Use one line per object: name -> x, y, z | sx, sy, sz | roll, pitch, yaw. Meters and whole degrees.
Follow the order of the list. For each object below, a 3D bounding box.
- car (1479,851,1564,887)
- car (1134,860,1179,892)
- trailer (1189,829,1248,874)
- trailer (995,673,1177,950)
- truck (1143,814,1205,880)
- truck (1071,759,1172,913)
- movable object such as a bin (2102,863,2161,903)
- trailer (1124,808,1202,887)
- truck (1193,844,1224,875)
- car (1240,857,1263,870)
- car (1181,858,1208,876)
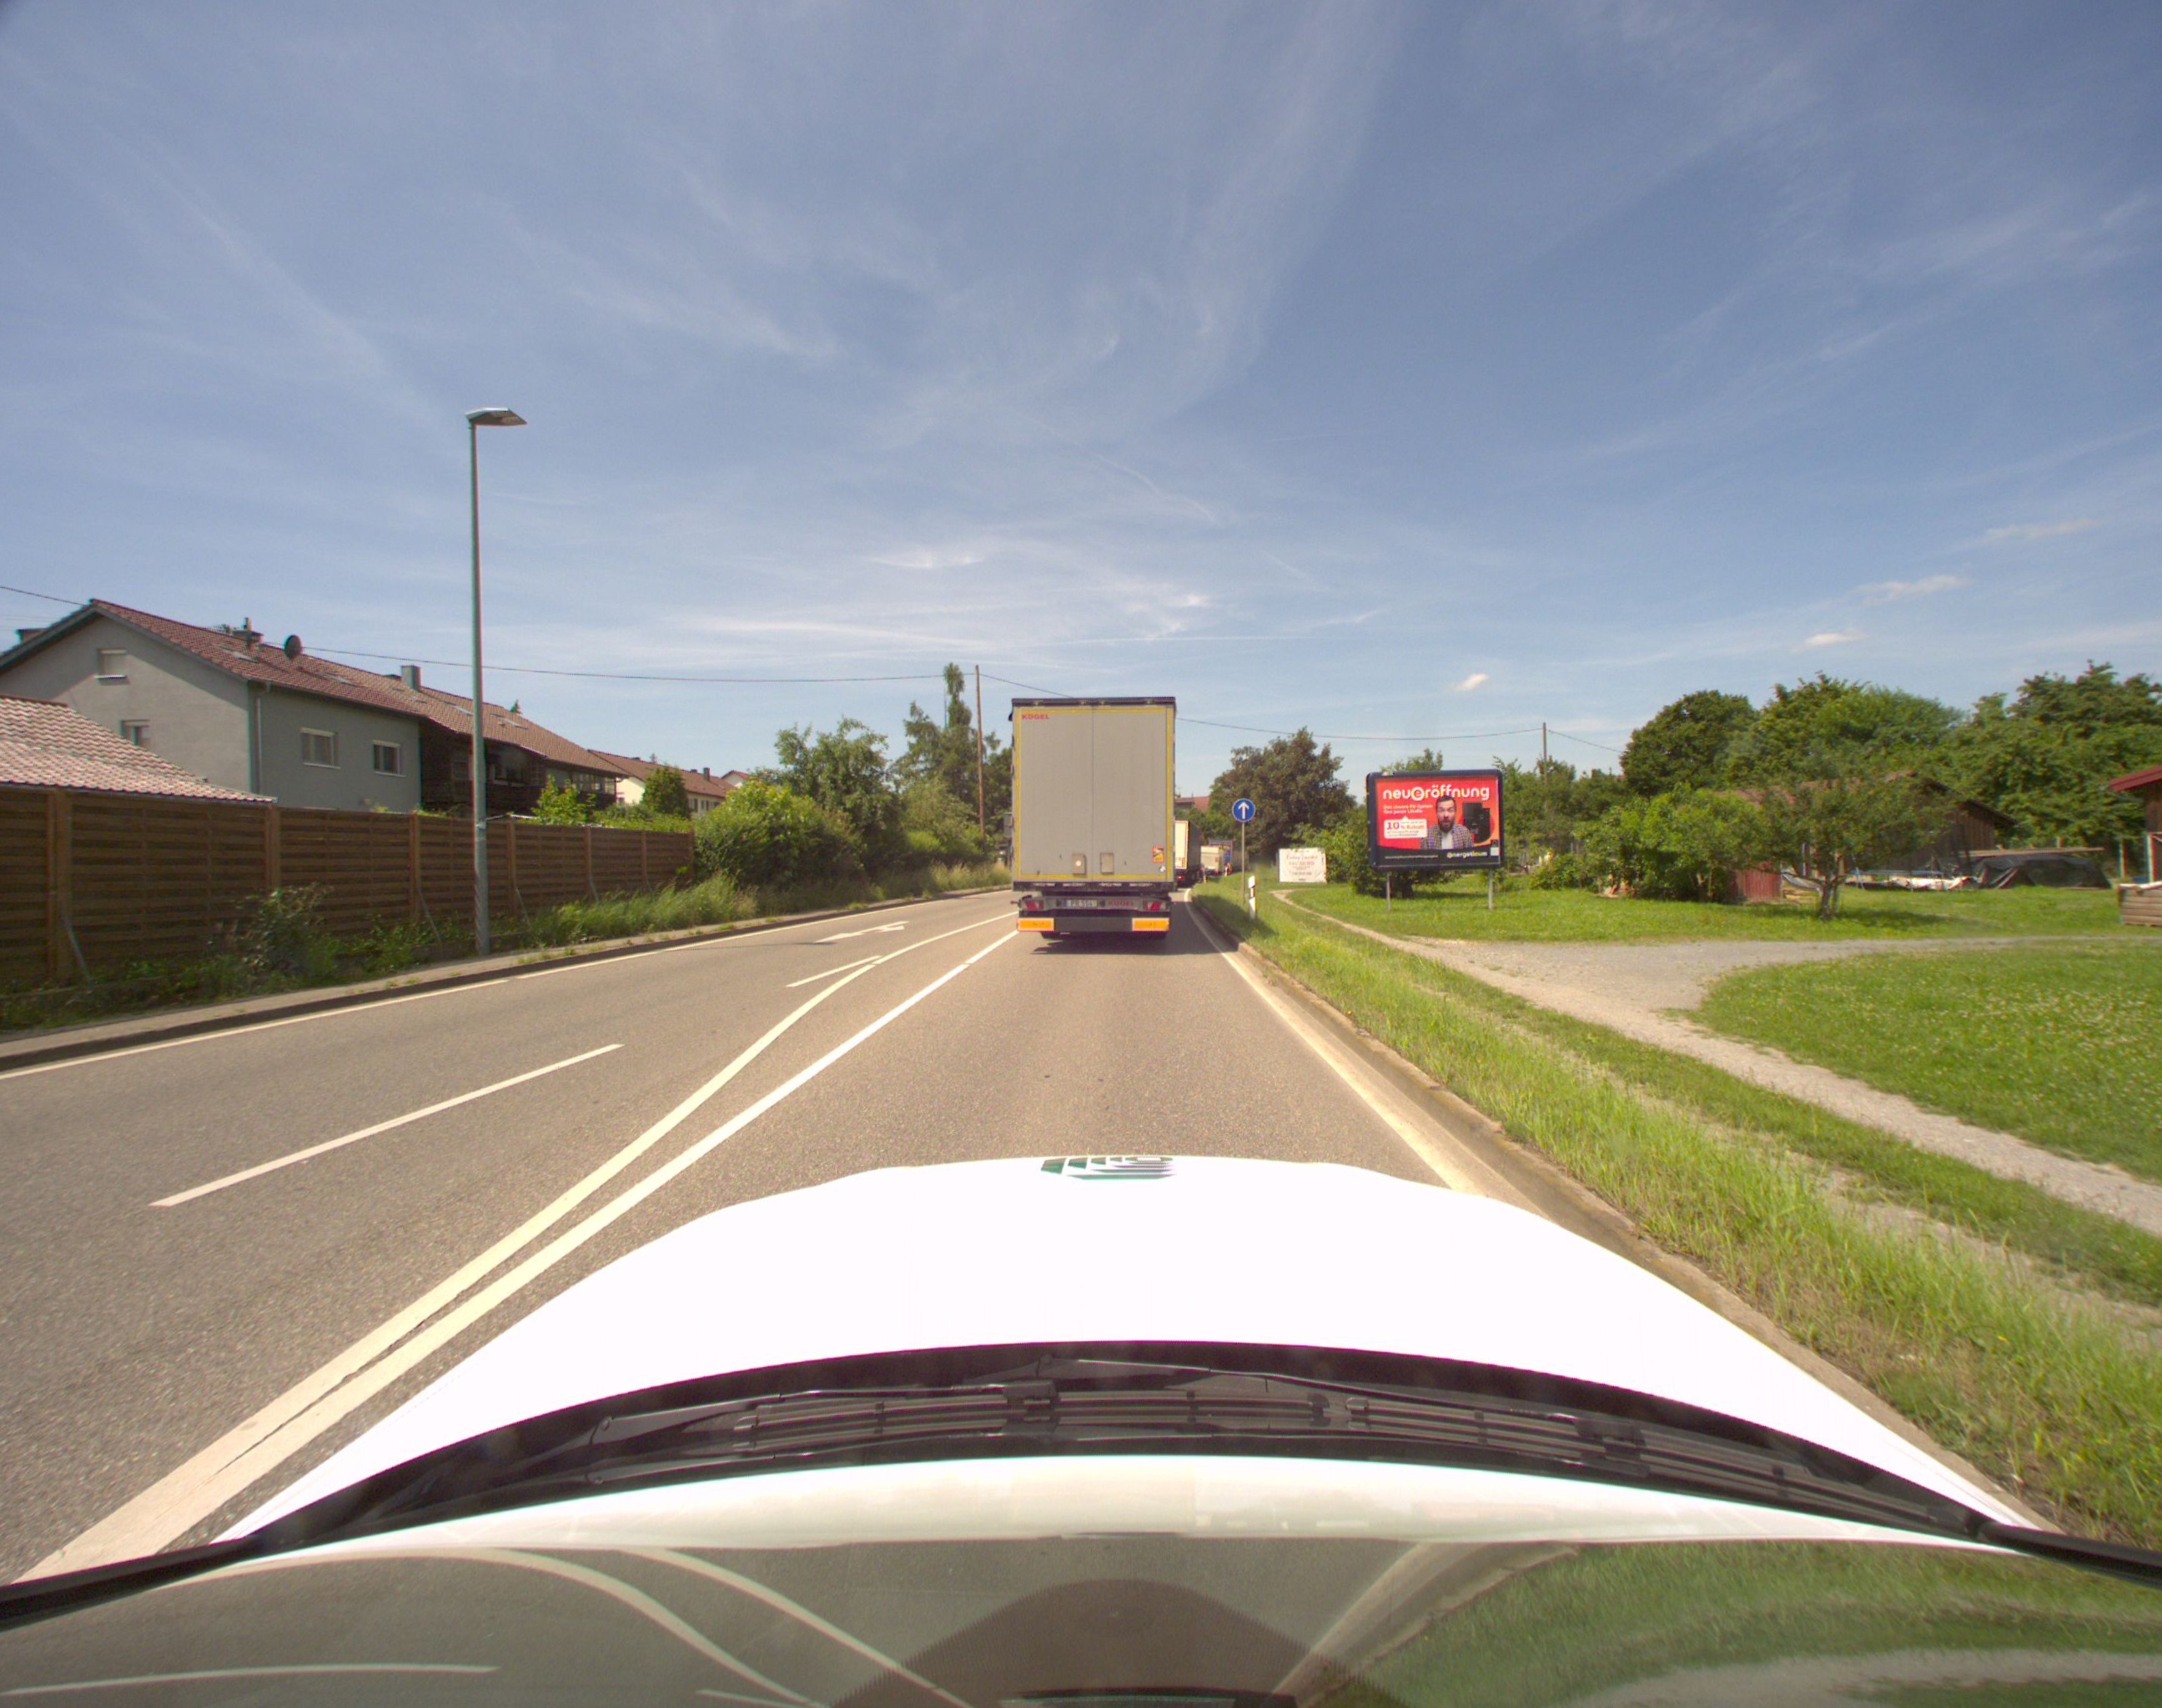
car -> 25.784, 0.861, 47.751 | 3.962, 2.013, 2.006 | 0, 0, 10
car -> 3.881, 1.071, 41.341 | 1.982, 1.530, 4.011 | 0, 0, 9
trailer -> 15.787, -0.313, 92.093 | 5.141, 4.628, 15.958 | 0, 0, 15
trailer -> 0.692, -0.661, 18.492 | 2.773, 4.205, 12.131 | 0, 0, 6
truck -> 6.934, -0.445, 59.888 | 3.911, 4.575, 7.173 | -1, -1, 11
truck -> 1.433, -0.494, 25.295 | 2.732, 4.165, 6.153 | 0, 0, 6
movable object such as a bin -> 29.100, 0.787, 22.311 | 1.039, 1.033, 1.059 | 0, 0, -12
trailer -> 5.625, -0.332, 53.131 | 3.866, 4.521, 12.752 | -1, -1, 11
truck -> 12.318, 0.486, 78.463 | 2.403, 2.838, 5.434 | 0, 0, 15
car -> 22.487, 1.269, 107.169 | 1.975, 1.684, 4.024 | 0, 0, 27
car -> 9.858, 1.137, 70.347 | 1.828, 1.486, 4.016 | 0, 0, 15
